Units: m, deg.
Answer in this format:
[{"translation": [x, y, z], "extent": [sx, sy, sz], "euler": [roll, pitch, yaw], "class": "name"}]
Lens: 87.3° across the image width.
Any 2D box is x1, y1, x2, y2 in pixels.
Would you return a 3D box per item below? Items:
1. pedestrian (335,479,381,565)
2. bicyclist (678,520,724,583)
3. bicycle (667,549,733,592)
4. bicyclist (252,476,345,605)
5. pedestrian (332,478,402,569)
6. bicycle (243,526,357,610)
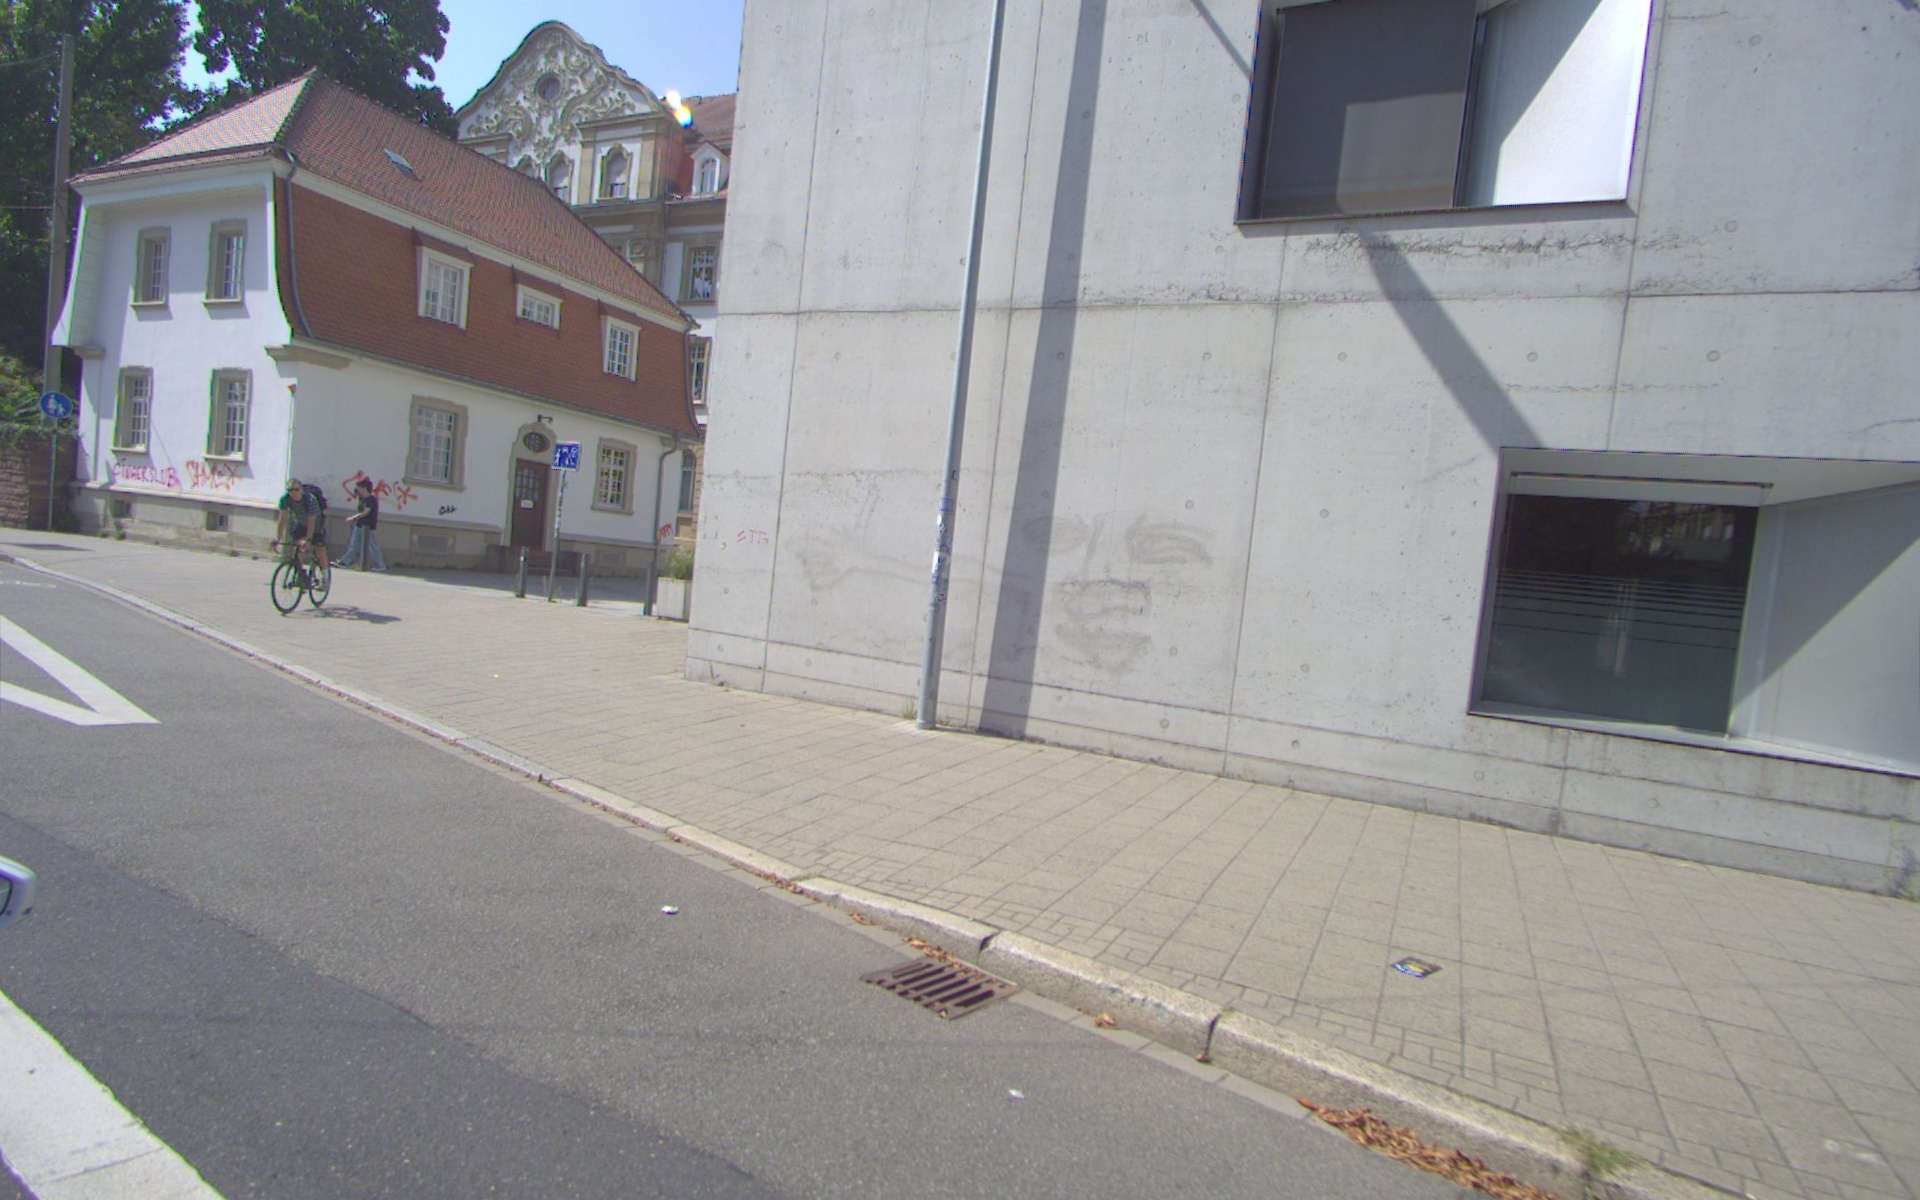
[{"translation": [-12.466, -1.605, 20.845], "extent": [0.610, 1.688, 0.485], "euler": [8, 3, 33], "class": "pedestrian"}, {"translation": [-6.765, -1.252, 26.307], "extent": [0.617, 1.561, 0.900], "euler": [8, 6, 30], "class": "bicyclist"}, {"translation": [-6.794, -0.760, 26.363], "extent": [0.605, 1.013, 1.706], "euler": [8, 4, 29], "class": "bicycle"}, {"translation": [-8.947, -0.791, 13.640], "extent": [0.617, 1.620, 0.989], "euler": [6, 3, -11], "class": "bicyclist"}, {"translation": [-11.957, -1.534, 20.291], "extent": [0.717, 1.688, 0.877], "euler": [8, 3, 32], "class": "pedestrian"}, {"translation": [-9.027, -0.442, 13.837], "extent": [0.605, 1.013, 1.707], "euler": [6, 1, -9], "class": "bicycle"}]
